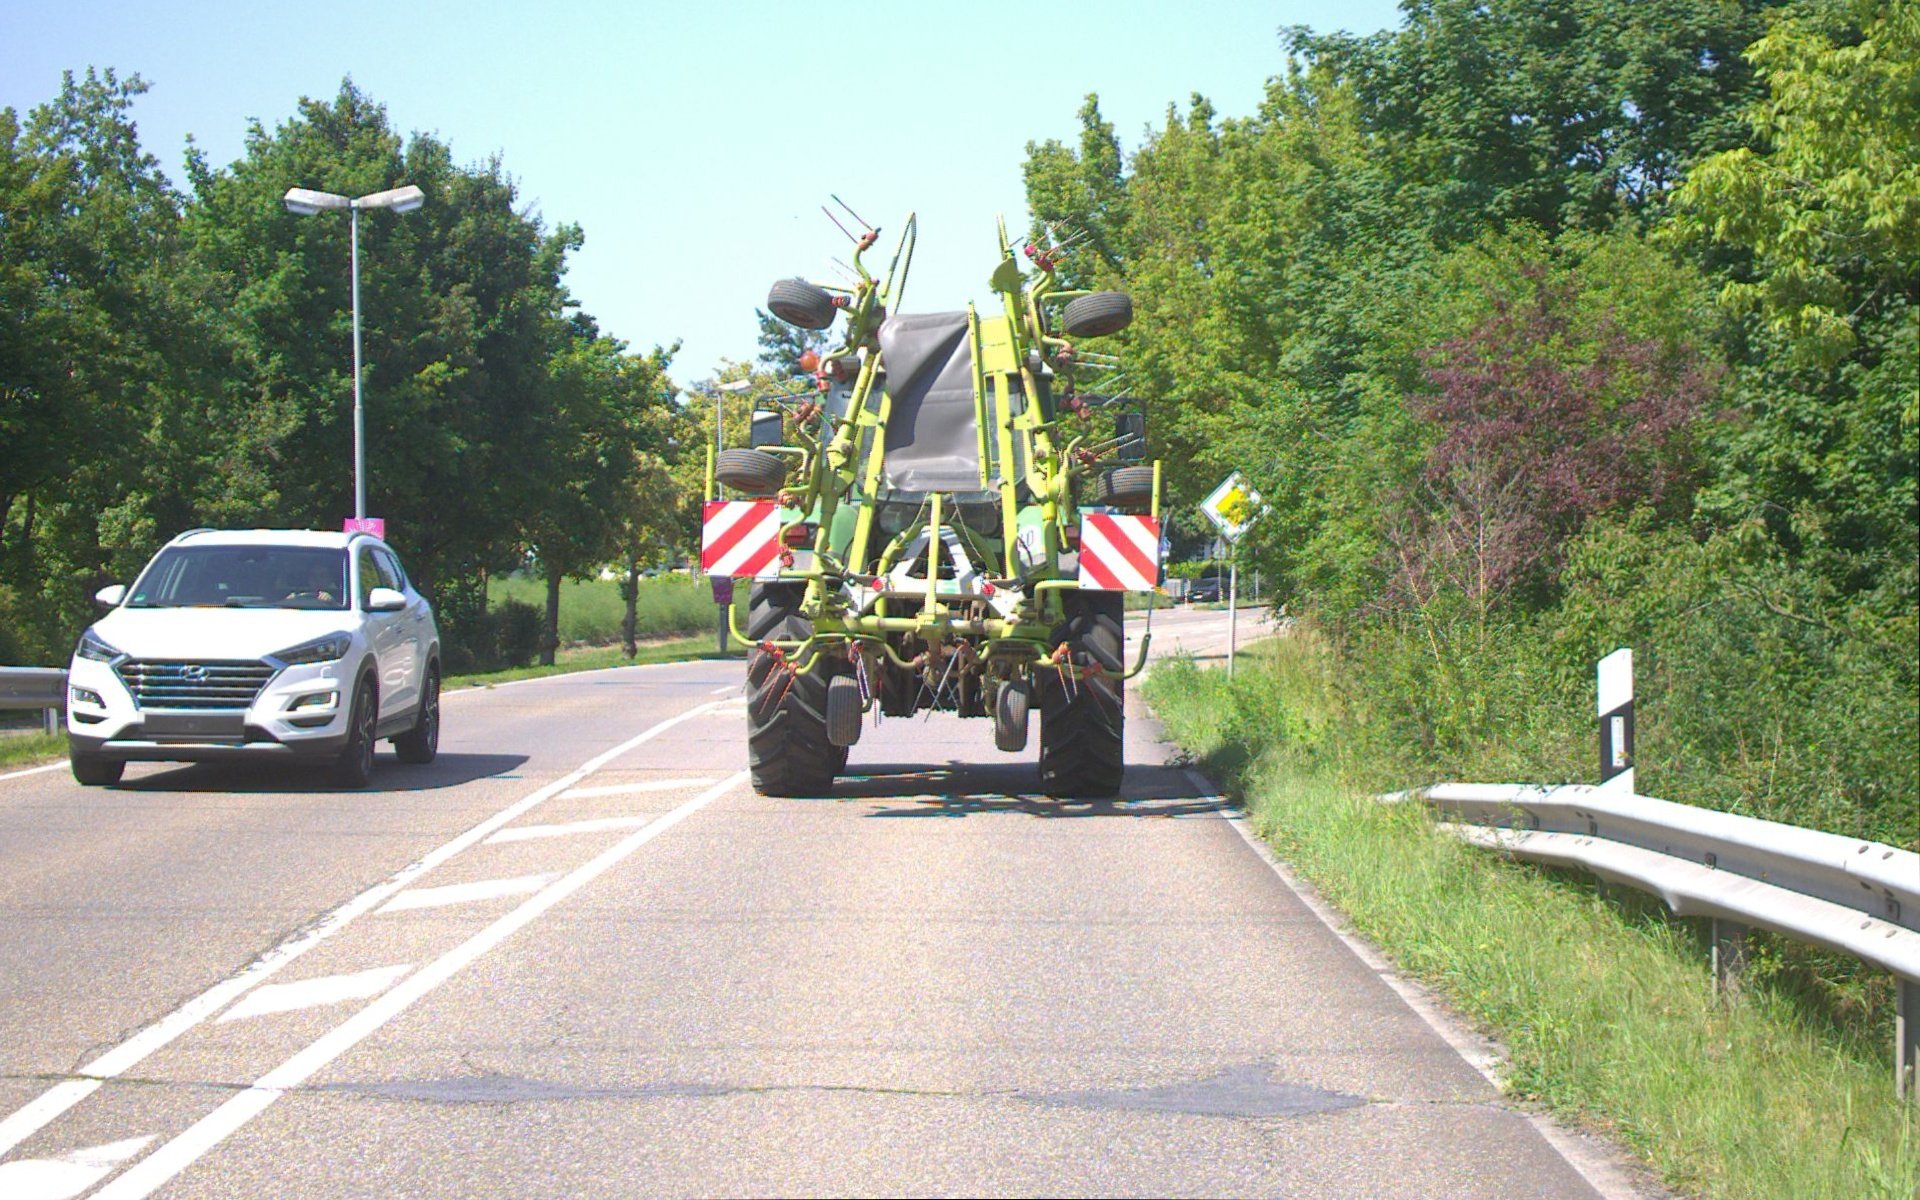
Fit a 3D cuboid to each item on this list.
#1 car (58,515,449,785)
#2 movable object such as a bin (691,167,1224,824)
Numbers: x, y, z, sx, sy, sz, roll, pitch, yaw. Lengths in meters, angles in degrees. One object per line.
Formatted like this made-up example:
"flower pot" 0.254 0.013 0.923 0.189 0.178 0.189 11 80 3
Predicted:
"car" -4.640 0.277 23.153 1.824 1.634 4.141 1 1 -1
"movable object such as a bin" -0.132 -0.631 23.512 2.852 3.529 9.701 1 1 -1
